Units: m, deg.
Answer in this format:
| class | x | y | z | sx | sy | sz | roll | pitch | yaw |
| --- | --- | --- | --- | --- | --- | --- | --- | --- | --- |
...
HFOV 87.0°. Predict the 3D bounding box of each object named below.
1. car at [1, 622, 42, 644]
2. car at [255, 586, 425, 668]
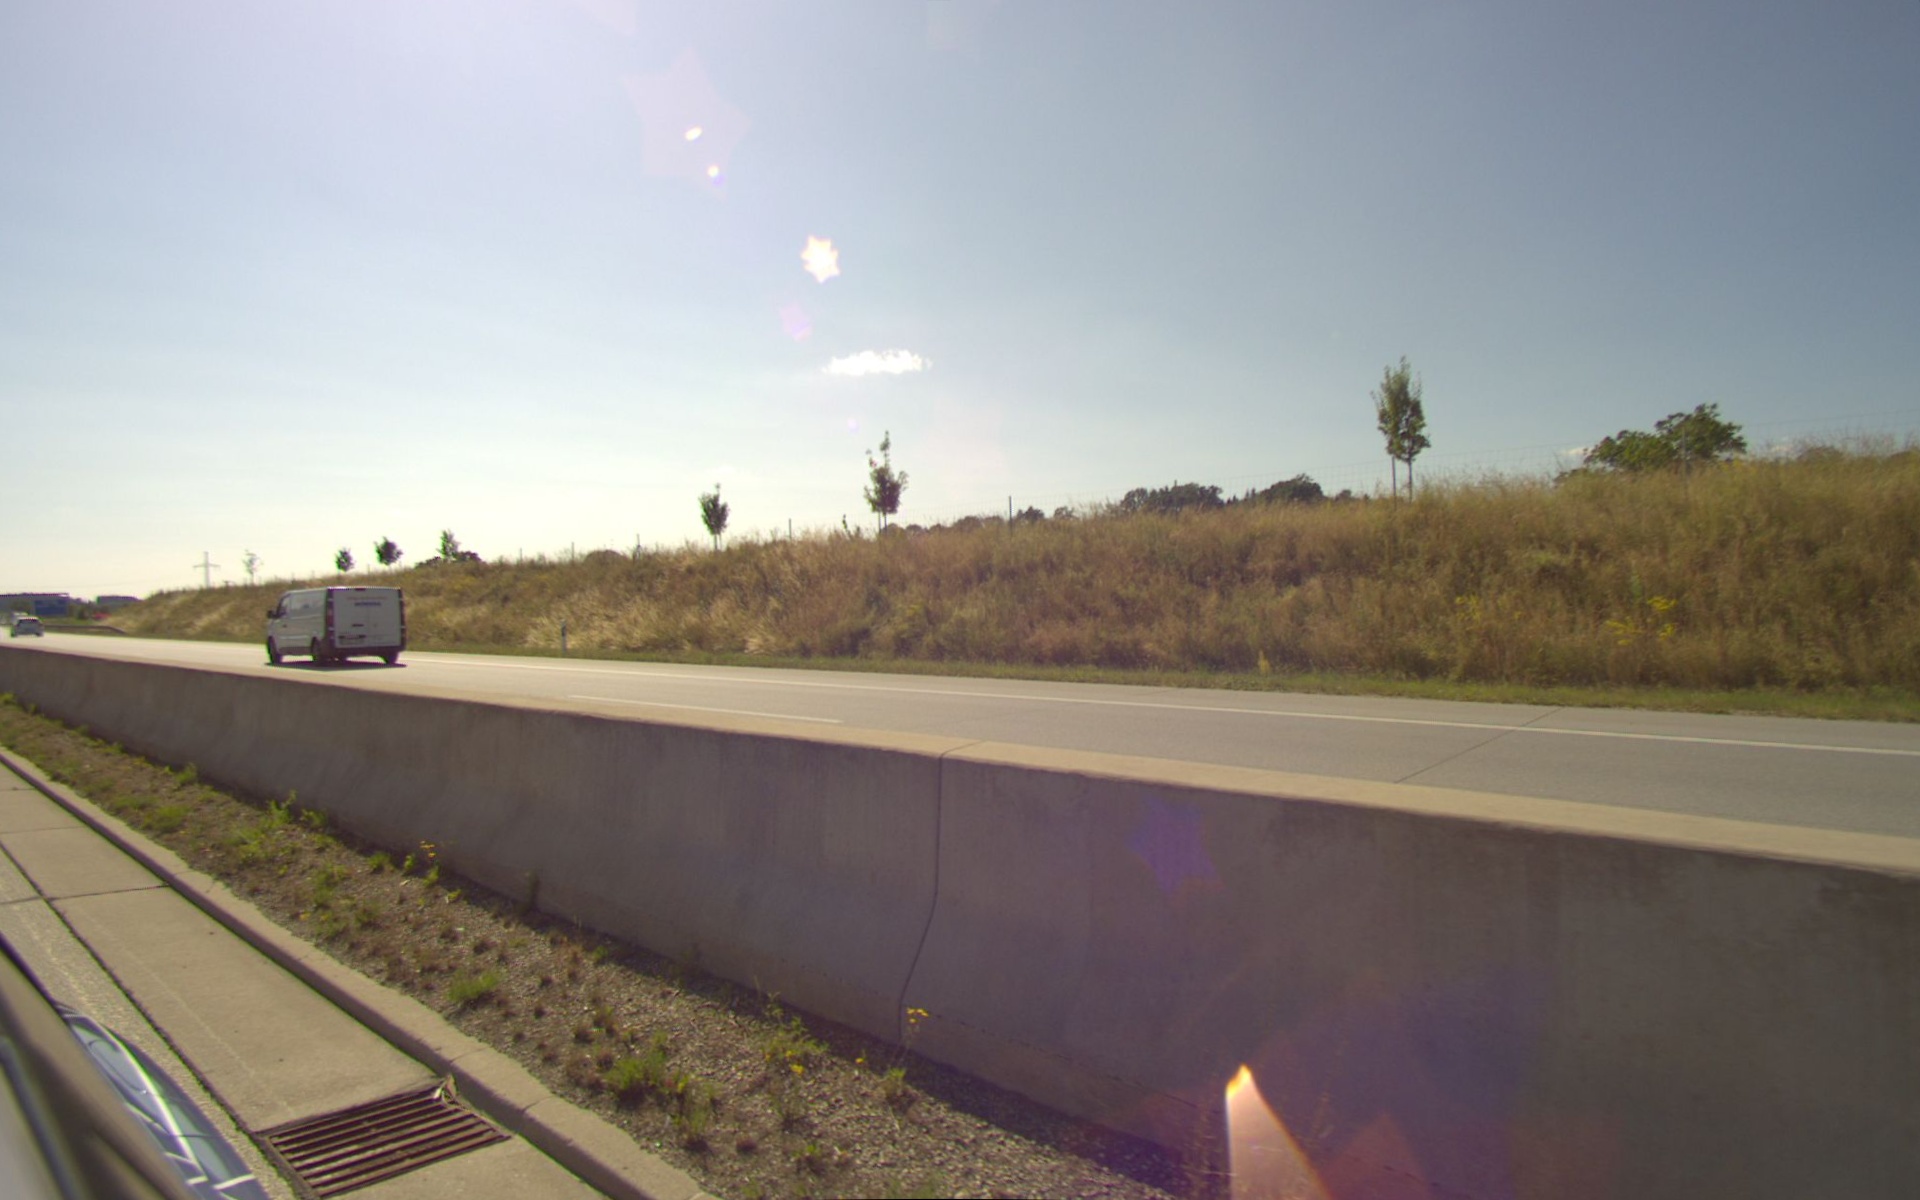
| class | x | y | z | sx | sy | sz | roll | pitch | yaw |
| --- | --- | --- | --- | --- | --- | --- | --- | --- | --- |
| car | -69.926 | 2.443 | 75.366 | 4.564 | 1.513 | 1.859 | -1 | -1 | 42 |
| car | -16.491 | 0.699 | 26.763 | 5.792 | 1.949 | 2.211 | -1 | -1 | 41 |
